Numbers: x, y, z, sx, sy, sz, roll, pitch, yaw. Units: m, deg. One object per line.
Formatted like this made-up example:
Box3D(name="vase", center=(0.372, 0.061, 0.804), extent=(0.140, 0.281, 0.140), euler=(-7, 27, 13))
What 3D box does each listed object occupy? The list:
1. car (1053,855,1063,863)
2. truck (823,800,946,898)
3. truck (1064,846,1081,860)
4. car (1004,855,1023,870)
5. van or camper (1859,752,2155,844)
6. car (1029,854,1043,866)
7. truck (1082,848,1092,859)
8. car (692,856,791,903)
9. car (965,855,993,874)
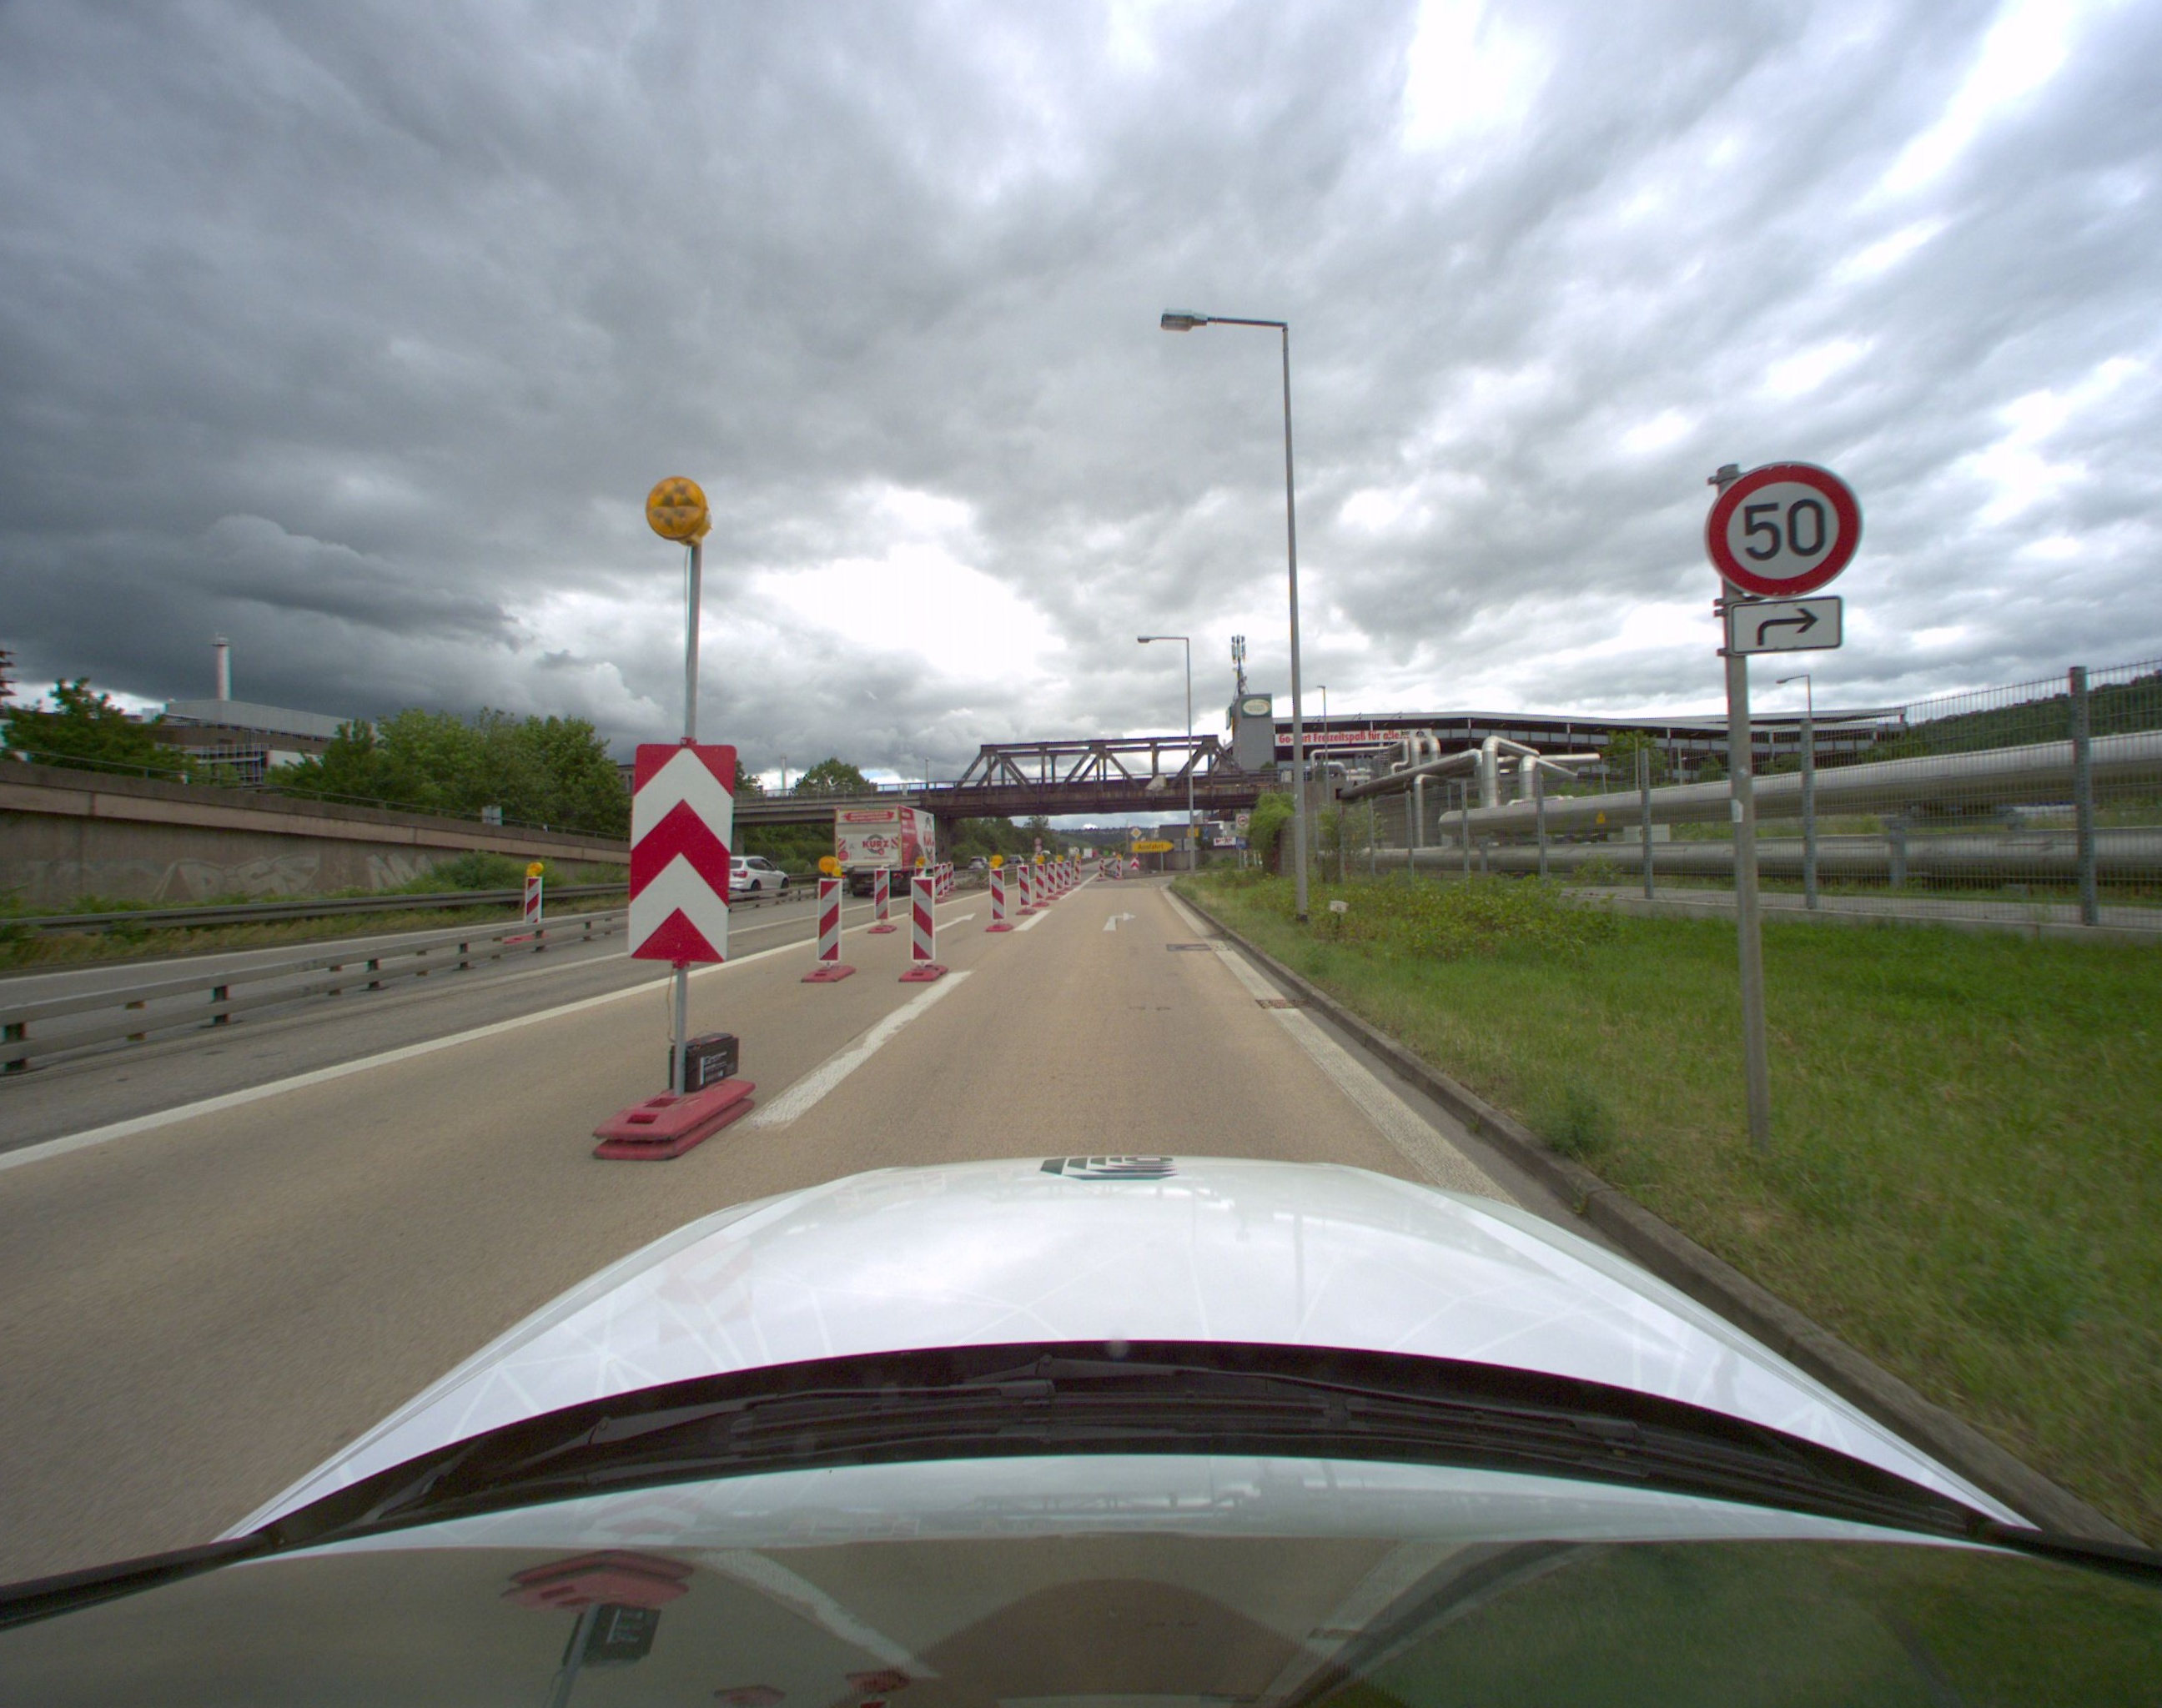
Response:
Box3D(name="car", center=(-4.935, 1.060, 173.016), extent=(1.772, 1.596, 3.753), euler=(-1, 0, 3))
Box3D(name="truck", center=(-8.227, -0.159, 35.683), extent=(2.944, 3.629, 10.150), euler=(-1, 0, -1))
Box3D(name="truck", center=(-2.216, -0.172, 217.119), extent=(3.704, 3.645, 7.735), euler=(-1, 0, 3))
Box3D(name="car", center=(-8.679, 1.127, 105.332), extent=(1.986, 1.759, 4.001), euler=(-2, -1, 2))
Box3D(name="van or camper", center=(30.015, -1.742, 26.691), extent=(6.068, 2.548, 2.583), euler=(-2, -1, 10))
Box3D(name="car", center=(-7.269, 0.947, 132.150), extent=(1.986, 1.816, 4.001), euler=(-1, 0, 1))
Box3D(name="truck", center=(1.831, -0.203, 237.244), extent=(2.670, 3.140, 6.137), euler=(0, 0, 3))
Box3D(name="car", center=(-12.725, 0.910, 30.832), extent=(1.847, 1.640, 4.293), euler=(-1, -1, 2))
Box3D(name="car", center=(-9.961, 1.035, 79.929), extent=(1.986, 1.759, 4.002), euler=(-2, -1, 2))
